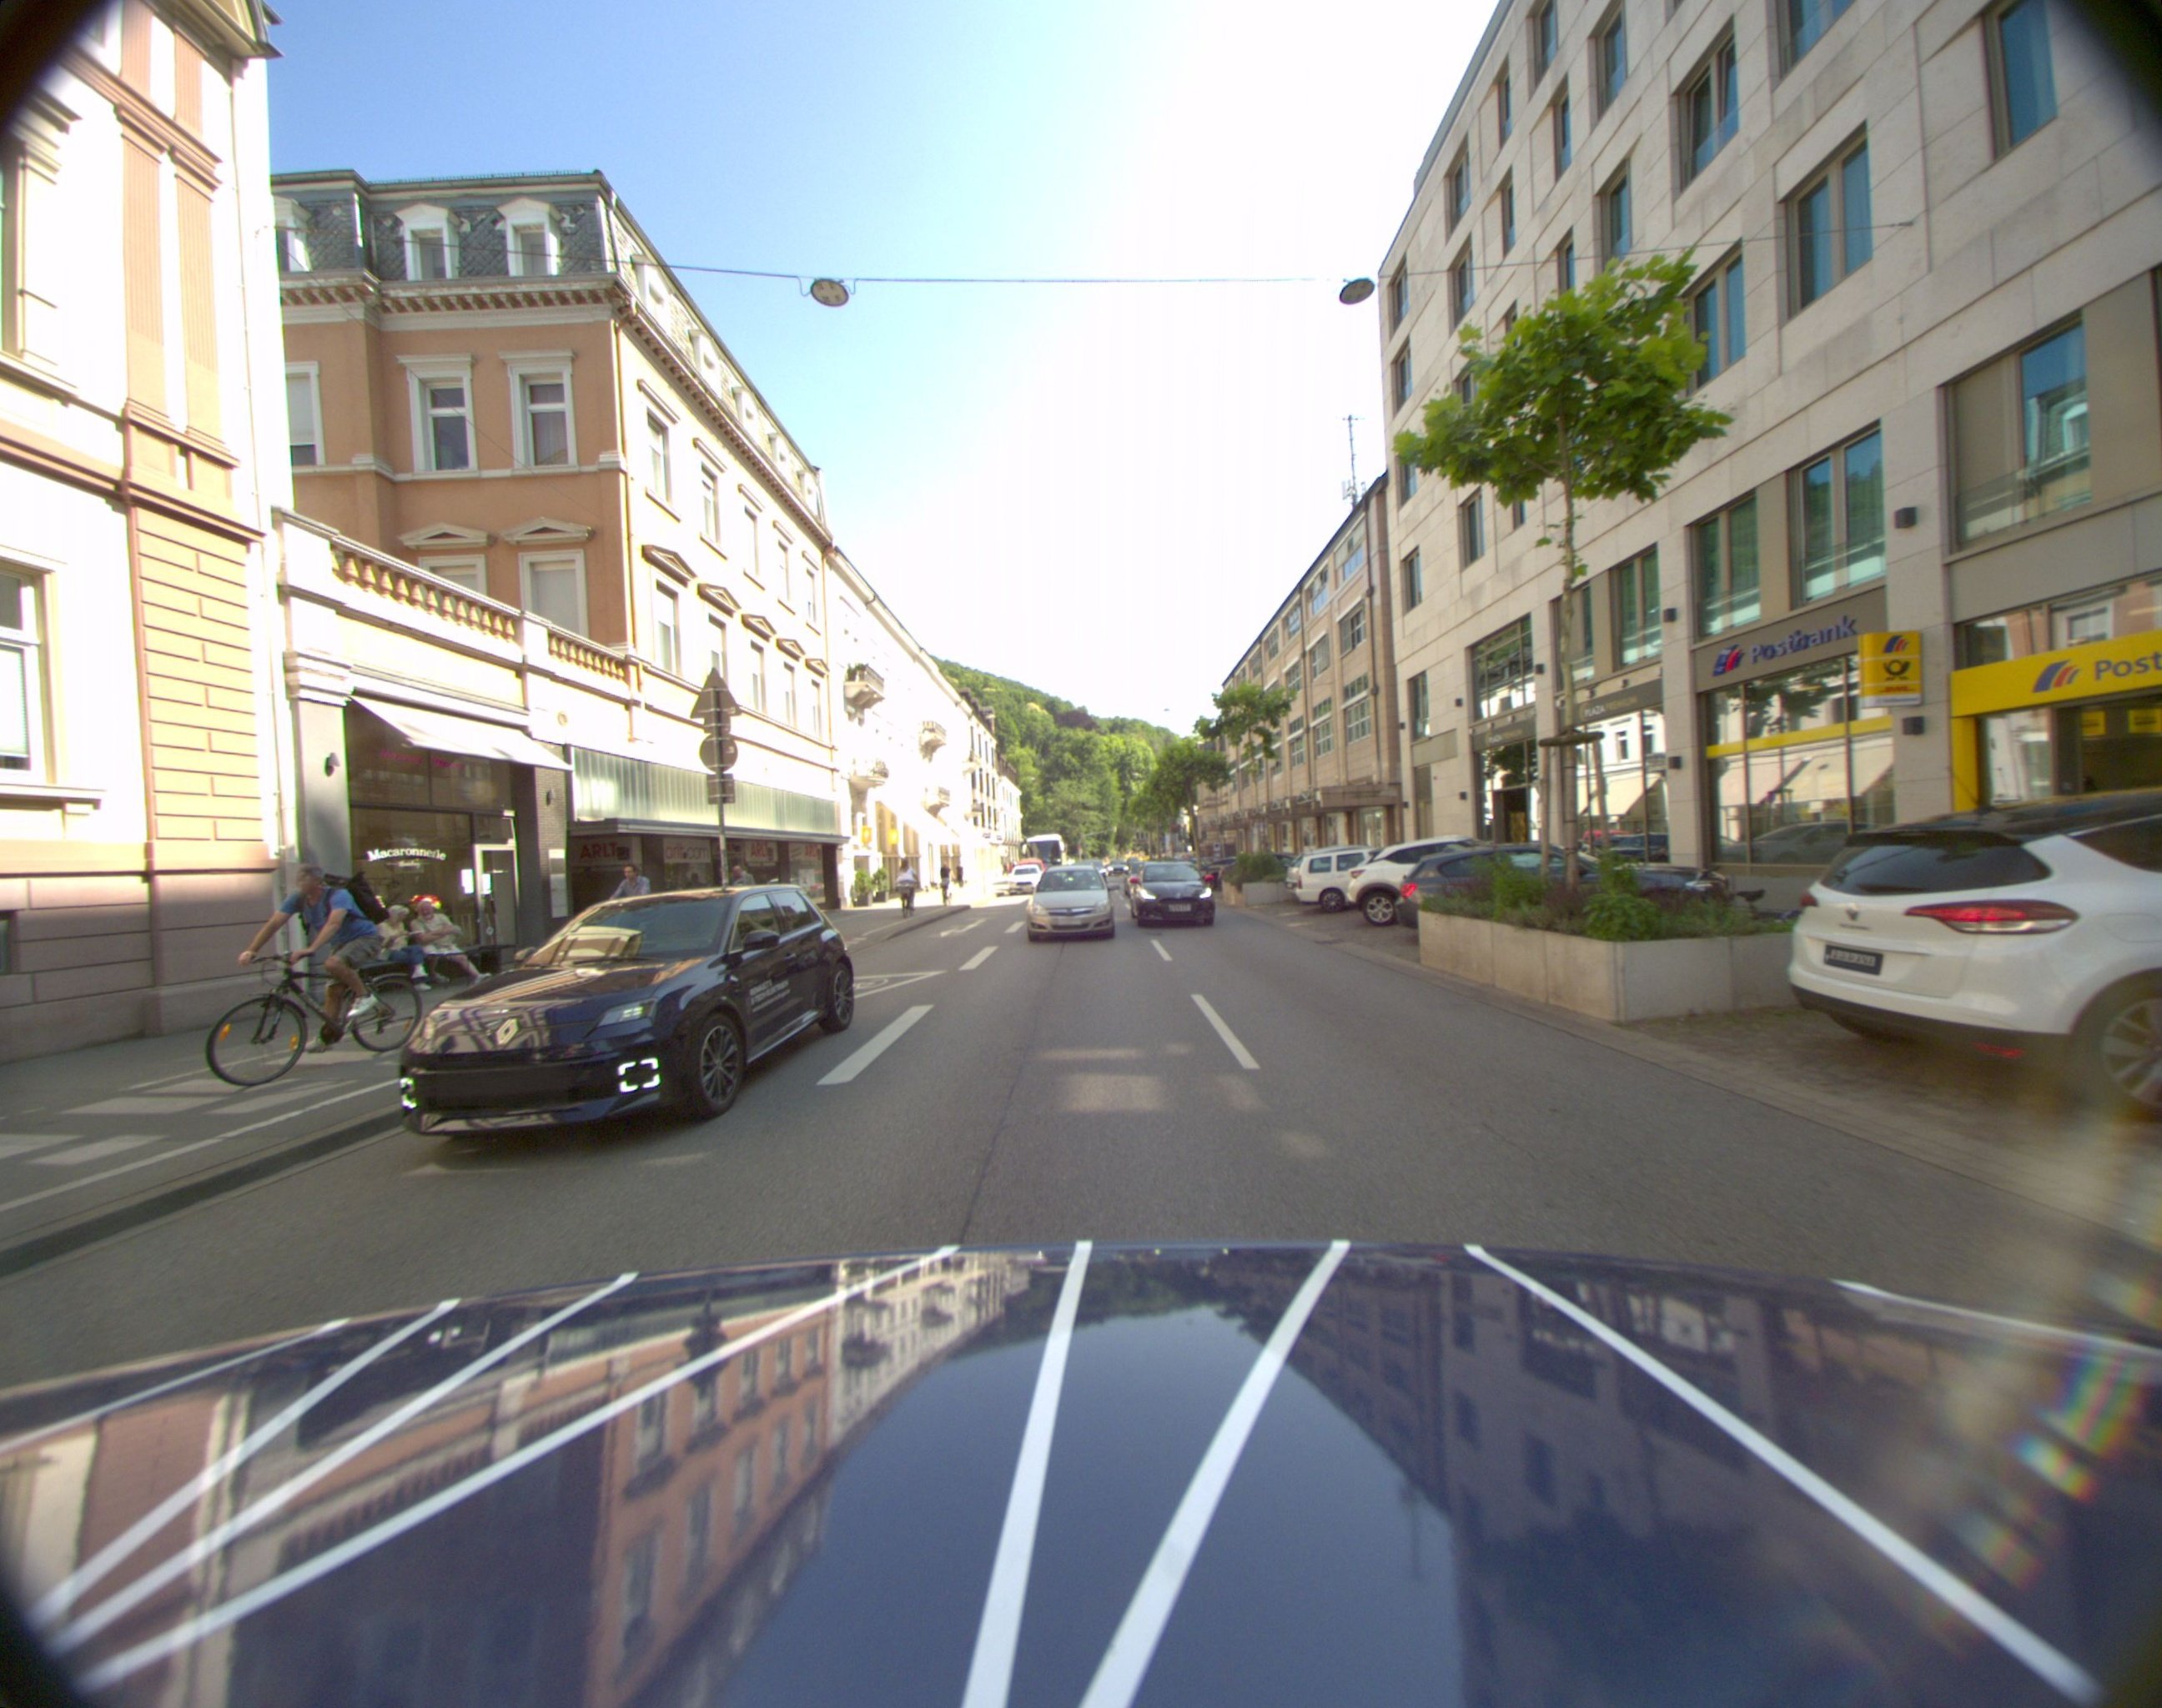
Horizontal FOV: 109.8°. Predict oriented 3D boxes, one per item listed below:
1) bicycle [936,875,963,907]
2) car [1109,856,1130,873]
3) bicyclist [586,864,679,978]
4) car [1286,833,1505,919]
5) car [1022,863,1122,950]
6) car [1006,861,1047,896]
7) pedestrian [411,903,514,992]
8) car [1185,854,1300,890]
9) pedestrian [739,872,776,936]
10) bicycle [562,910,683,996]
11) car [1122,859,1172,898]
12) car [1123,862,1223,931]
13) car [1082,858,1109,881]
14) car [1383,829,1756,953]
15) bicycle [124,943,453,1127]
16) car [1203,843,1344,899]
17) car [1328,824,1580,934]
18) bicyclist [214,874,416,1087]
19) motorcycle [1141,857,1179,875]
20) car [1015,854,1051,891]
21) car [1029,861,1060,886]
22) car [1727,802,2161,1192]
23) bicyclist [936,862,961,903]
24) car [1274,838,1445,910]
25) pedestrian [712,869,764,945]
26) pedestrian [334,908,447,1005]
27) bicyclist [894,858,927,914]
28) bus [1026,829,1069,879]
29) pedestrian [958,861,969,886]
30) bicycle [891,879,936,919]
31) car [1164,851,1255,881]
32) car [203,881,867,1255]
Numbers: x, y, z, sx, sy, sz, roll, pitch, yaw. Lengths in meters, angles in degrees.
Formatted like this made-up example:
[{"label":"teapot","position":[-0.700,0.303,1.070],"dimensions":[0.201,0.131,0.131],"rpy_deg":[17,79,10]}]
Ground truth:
[{"label":"bicycle","position":[-5.220,1.459,30.301],"dimensions":[0.596,1.120,2.094],"rpy_deg":[-1,1,3]},{"label":"car","position":[3.433,0.954,68.910],"dimensions":[1.733,1.389,4.107],"rpy_deg":[-3,0,2]},{"label":"bicyclist","position":[-7.124,1.044,12.114],"dimensions":[0.910,1.707,0.844],"rpy_deg":[-2,1,0]},{"label":"car","position":[7.409,0.531,18.262],"dimensions":[4.493,1.424,1.865],"rpy_deg":[-8,0,21]},{"label":"car","position":[-0.195,1.004,16.337],"dimensions":[1.791,1.483,4.367],"rpy_deg":[-3,0,-1]},{"label":"car","position":[-2.787,1.227,39.784],"dimensions":[1.799,1.515,4.263],"rpy_deg":[-6,1,-1]},{"label":"pedestrian","position":[-9.610,1.442,11.833],"dimensions":[1.088,1.308,0.625],"rpy_deg":[0,0,0]},{"label":"car","position":[6.921,0.790,32.916],"dimensions":[1.736,1.438,4.609],"rpy_deg":[-2,0,-45]},{"label":"pedestrian","position":[-8.764,1.338,20.601],"dimensions":[0.522,1.656,0.844],"rpy_deg":[-2,1,2]},{"label":"bicycle","position":[-7.213,1.524,12.071],"dimensions":[0.748,1.111,1.918],"rpy_deg":[-1,0,0]},{"label":"car","position":[2.665,0.968,31.583],"dimensions":[1.734,1.389,4.106],"rpy_deg":[-3,0,1]},{"label":"car","position":[2.101,0.966,18.513],"dimensions":[1.868,1.469,4.107],"rpy_deg":[-1,-1,-1]},{"label":"car","position":[0.988,1.042,51.502],"dimensions":[1.775,1.469,4.107],"rpy_deg":[-1,-1,1]},{"label":"car","position":[7.079,0.601,11.423],"dimensions":[4.308,1.441,1.790],"rpy_deg":[-6,0,35]},{"label":"bicycle","position":[-6.671,1.453,6.602],"dimensions":[0.664,1.111,1.992],"rpy_deg":[-2,0,3]},{"label":"car","position":[6.977,0.634,27.650],"dimensions":[4.521,1.496,1.795],"rpy_deg":[-7,0,32]},{"label":"car","position":[7.182,0.509,14.760],"dimensions":[4.029,1.584,1.822],"rpy_deg":[-8,0,34]},{"label":"bicyclist","position":[-6.689,1.059,6.688],"dimensions":[0.840,1.707,0.844],"rpy_deg":[-2,1,2]},{"label":"motorcycle","position":[6.205,0.948,60.064],"dimensions":[0.980,1.342,3.095],"rpy_deg":[-2,0,-42]},{"label":"car","position":[-2.838,1.089,45.498],"dimensions":[1.703,1.900,4.607],"rpy_deg":[-7,-1,-1]},{"label":"car","position":[-2.368,1.237,50.506],"dimensions":[1.868,1.478,4.414],"rpy_deg":[-3,0,-1]},{"label":"car","position":[6.759,0.536,4.269],"dimensions":[4.165,1.627,2.103],"rpy_deg":[-7,0,10]},{"label":"bicyclist","position":[-5.246,1.126,30.070],"dimensions":[0.747,1.564,0.844],"rpy_deg":[-2,1,2]},{"label":"car","position":[7.691,0.514,21.254],"dimensions":[3.997,1.519,1.820],"rpy_deg":[-6,2,1]},{"label":"pedestrian","position":[-8.427,1.281,18.679],"dimensions":[0.840,1.781,0.767],"rpy_deg":[-2,1,2]},{"label":"pedestrian","position":[-10.116,1.492,11.160],"dimensions":[1.032,1.308,0.625],"rpy_deg":[-2,0,0]},{"label":"bicyclist","position":[-5.426,1.005,24.212],"dimensions":[0.747,1.693,1.036],"rpy_deg":[-2,1,2]},{"label":"bus","position":[-2.523,-0.033,61.392],"dimensions":[2.924,3.515,12.498],"rpy_deg":[-2,0,0]},{"label":"pedestrian","position":[-7.797,1.291,50.380],"dimensions":[0.482,1.659,0.868],"rpy_deg":[-2,0,1]},{"label":"bicycle","position":[-5.385,1.420,24.554],"dimensions":[0.743,1.120,2.574],"rpy_deg":[-1,1,3]},{"label":"car","position":[7.628,0.753,45.528],"dimensions":[5.120,1.623,1.847],"rpy_deg":[-2,0,40]},{"label":"car","position":[-3.306,1.145,5.910],"dimensions":[1.891,1.483,4.290],"rpy_deg":[-5,1,1]}]
